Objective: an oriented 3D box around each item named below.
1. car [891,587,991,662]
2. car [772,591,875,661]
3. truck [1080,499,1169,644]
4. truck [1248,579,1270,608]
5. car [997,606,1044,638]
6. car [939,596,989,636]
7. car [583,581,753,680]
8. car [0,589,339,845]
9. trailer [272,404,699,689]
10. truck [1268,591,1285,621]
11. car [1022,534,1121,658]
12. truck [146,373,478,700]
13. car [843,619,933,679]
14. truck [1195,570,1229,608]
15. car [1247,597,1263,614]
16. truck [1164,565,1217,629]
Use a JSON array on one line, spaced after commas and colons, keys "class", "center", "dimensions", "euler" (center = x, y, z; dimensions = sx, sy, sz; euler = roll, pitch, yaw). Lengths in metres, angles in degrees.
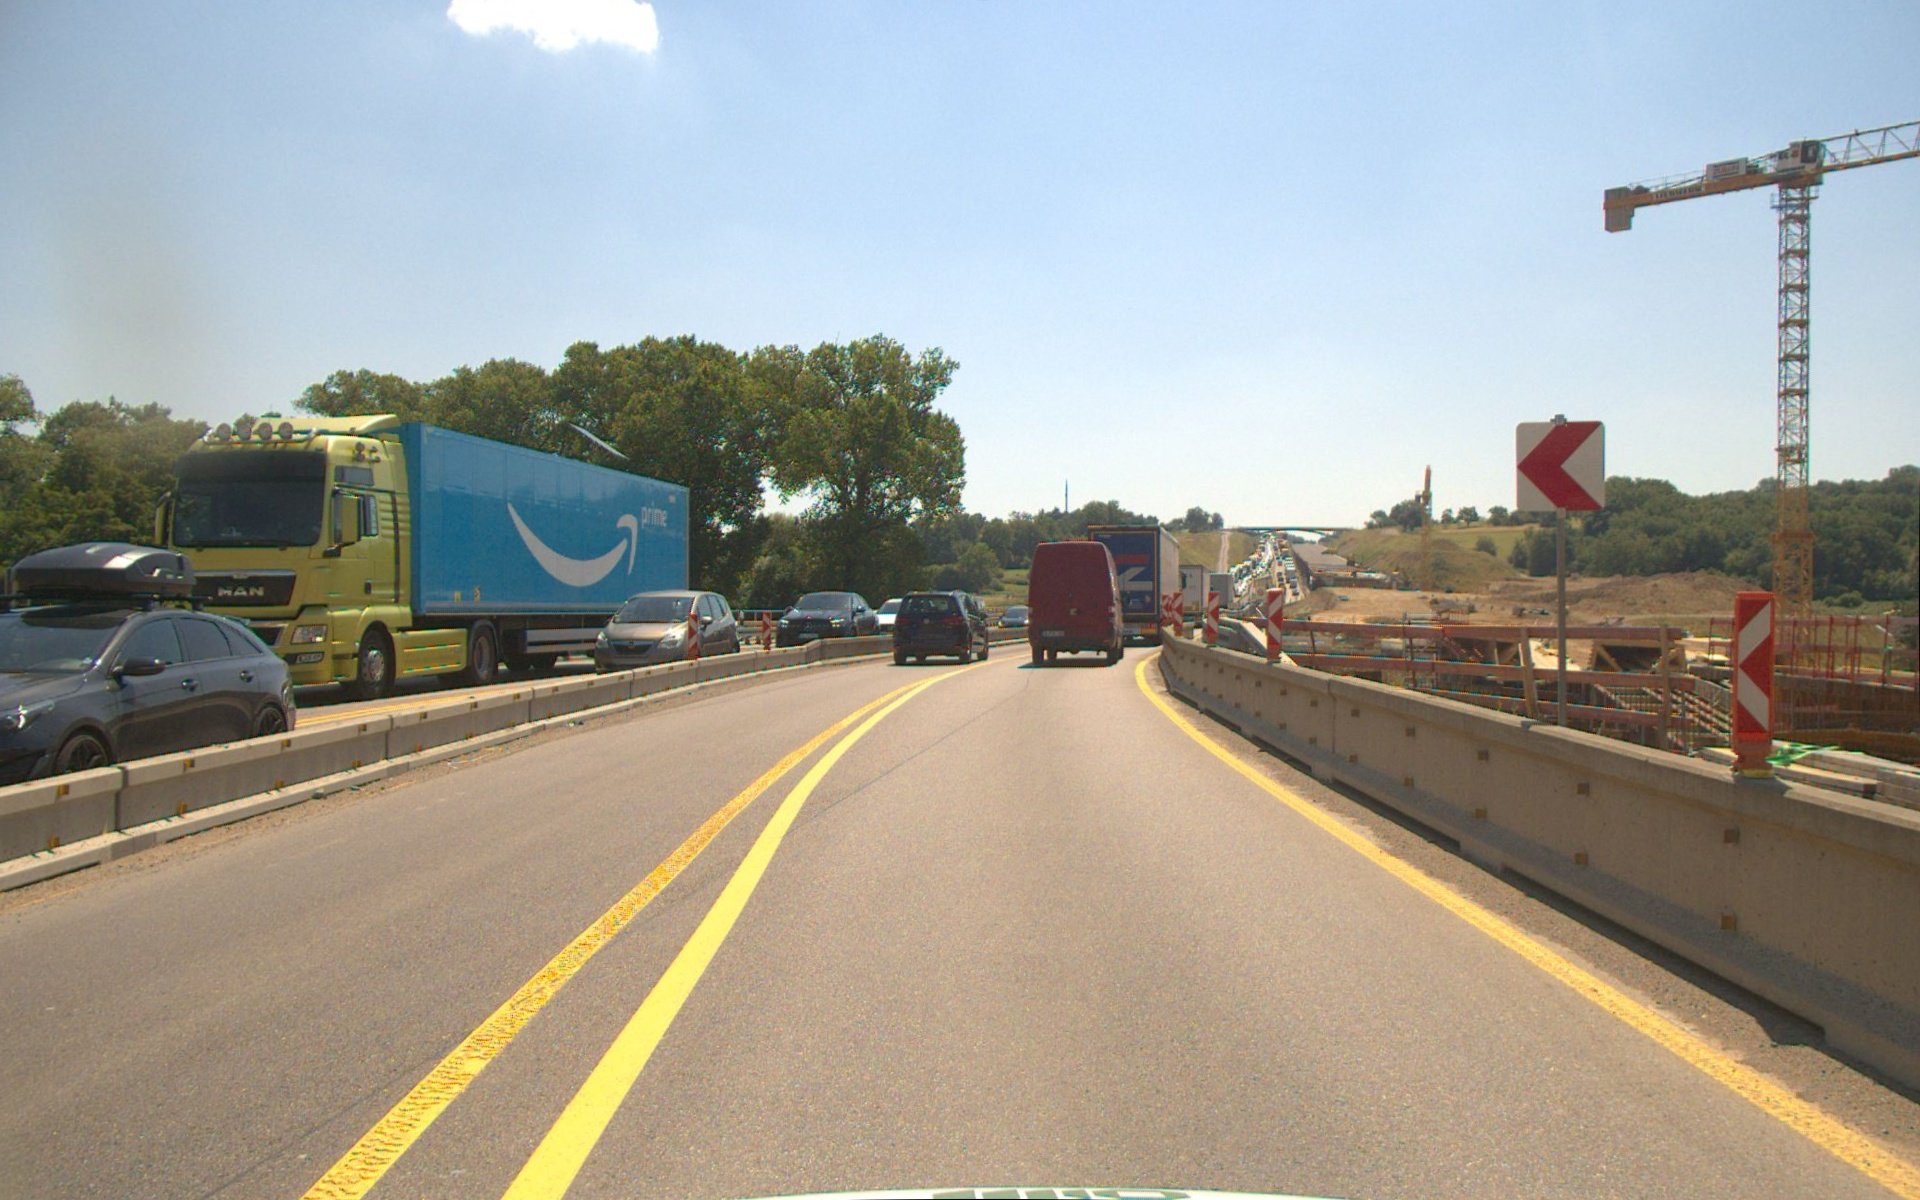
[{"class": "car", "center": [-0.383, 0.547, 39.060], "dimensions": [1.697, 1.664, 4.393], "euler": [0, 0, 8]}, {"class": "car", "center": [-3.478, 0.625, 42.874], "dimensions": [1.841, 1.676, 4.718], "euler": [0, 0, 6]}, {"class": "truck", "center": [6.140, -0.954, 60.749], "dimensions": [2.882, 5.032, 6.746], "euler": [0, -1, 9]}, {"class": "truck", "center": [34.389, -0.702, 190.295], "dimensions": [2.242, 3.252, 6.488], "euler": [0, 0, 9]}, {"class": "car", "center": [2.834, 1.007, 76.712], "dimensions": [1.633, 1.389, 4.443], "euler": [0, 0, 9]}, {"class": "car", "center": [0.256, 0.793, 84.465], "dimensions": [1.781, 1.977, 5.068], "euler": [0, 0, 9]}, {"class": "car", "center": [-5.130, 0.537, 29.693], "dimensions": [1.782, 1.612, 4.304], "euler": [1, -1, 7]}, {"class": "car", "center": [-6.246, 0.658, 11.772], "dimensions": [1.782, 1.460, 4.584], "euler": [0, 0, 2]}, {"class": "trailer", "center": [-8.387, -0.721, 32.156], "dimensions": [2.591, 4.368, 13.318], "euler": [1, -1, 8]}, {"class": "truck", "center": [44.921, 0.918, 235.024], "dimensions": [2.242, 3.805, 6.486], "euler": [0, -4, 10]}, {"class": "car", "center": [2.606, 0.002, 38.416], "dimensions": [2.105, 2.657, 5.440], "euler": [1, -2, 4]}, {"class": "truck", "center": [-9.378, -0.825, 24.512], "dimensions": [2.569, 4.345, 4.735], "euler": [1, -1, 6]}, {"class": "car", "center": [-2.267, 1.527, 53.332], "dimensions": [1.781, 1.675, 4.575], "euler": [1, 1, 13]}, {"class": "truck", "center": [24.813, -1.053, 162.682], "dimensions": [3.115, 3.030, 8.905], "euler": [0, -4, 10]}, {"class": "car", "center": [30.325, 0.533, 170.269], "dimensions": [1.583, 1.729, 3.893], "euler": [0, 0, 10]}, {"class": "truck", "center": [15.166, -0.175, 108.496], "dimensions": [3.114, 4.060, 6.747], "euler": [0, -1, 10]}]
